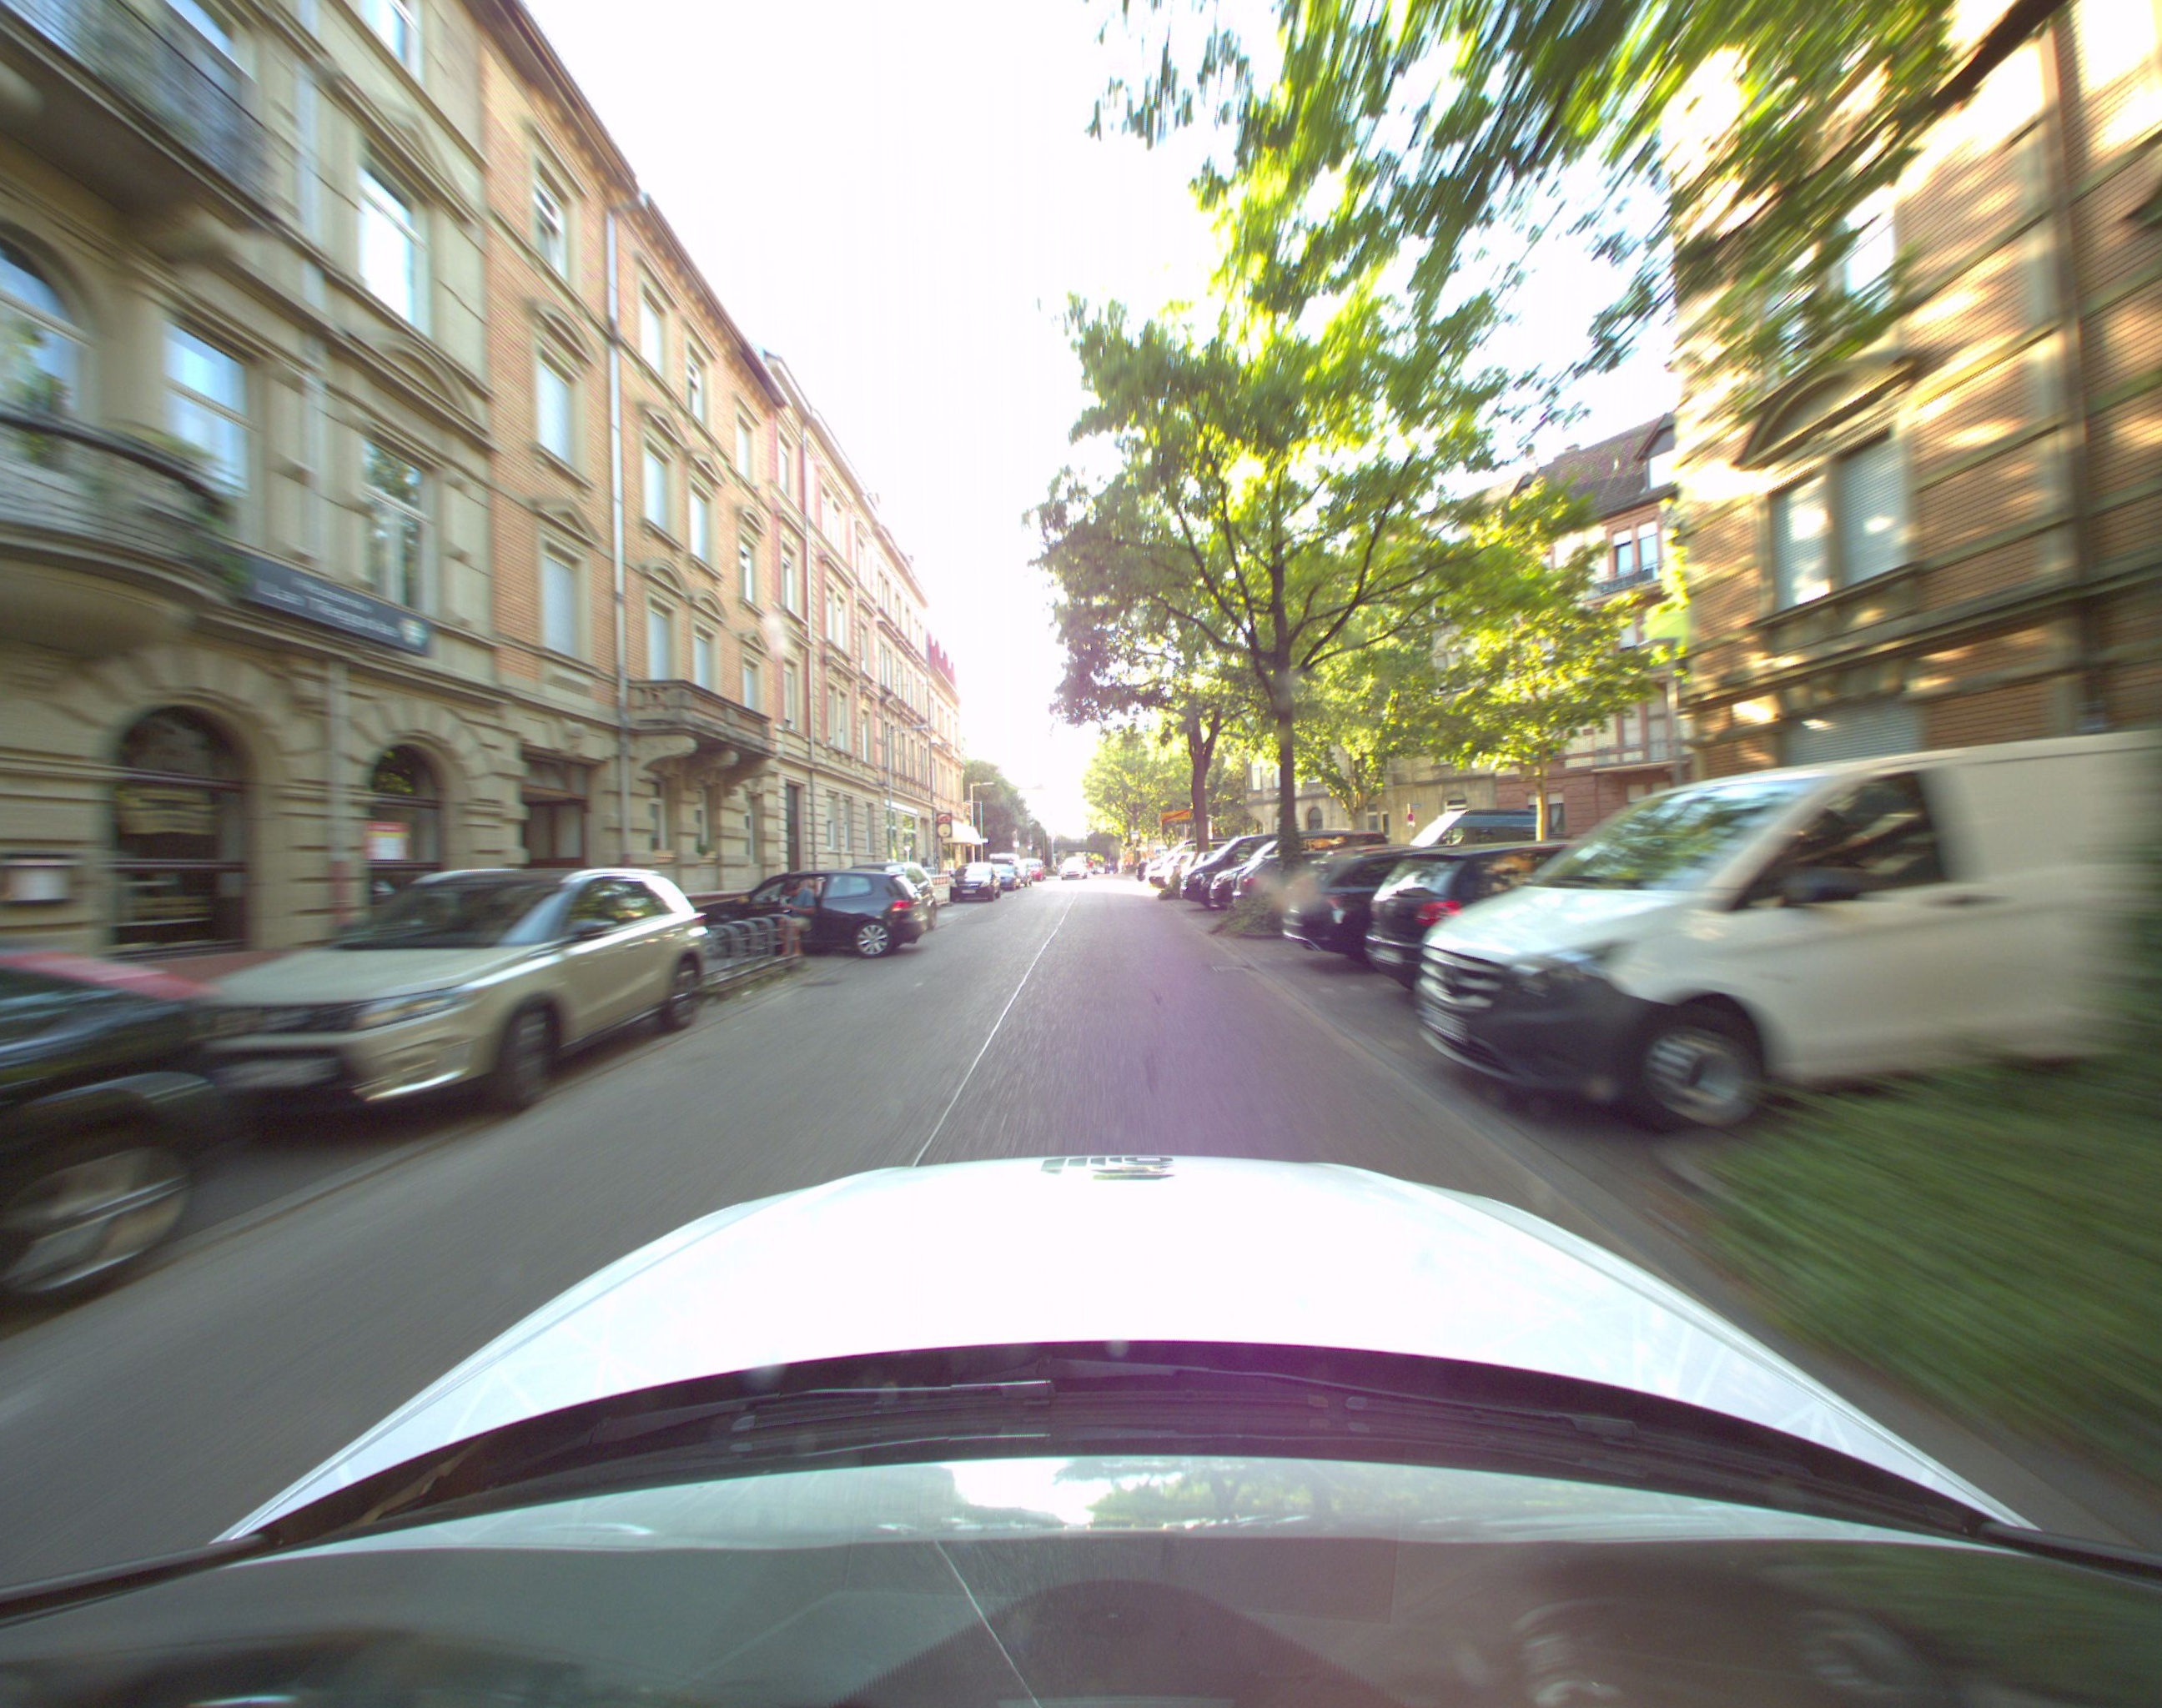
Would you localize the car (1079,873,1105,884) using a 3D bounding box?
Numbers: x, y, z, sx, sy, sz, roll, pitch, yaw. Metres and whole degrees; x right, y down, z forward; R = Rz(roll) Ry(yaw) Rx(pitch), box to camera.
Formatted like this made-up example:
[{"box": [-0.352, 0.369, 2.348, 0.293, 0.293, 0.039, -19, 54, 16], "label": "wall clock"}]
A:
[{"box": [1.850, 4.265, 141.628, 4.375, 1.785, 1.915, -1, -4, -2], "label": "car"}]

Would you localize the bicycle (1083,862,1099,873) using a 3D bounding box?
[{"box": [0.855, 1.151, 70.201, 0.805, 0.968, 2.096, -1, 0, -17], "label": "bicycle"}]

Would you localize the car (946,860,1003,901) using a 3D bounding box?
[{"box": [-4.140, 0.986, 32.243, 1.698, 1.454, 4.019, -2, 0, 0], "label": "car"}]

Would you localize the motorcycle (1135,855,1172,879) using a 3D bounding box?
[{"box": [4.316, 0.779, 48.618, 2.017, 1.285, 0.903, -4, 0, -1], "label": "motorcycle"}]

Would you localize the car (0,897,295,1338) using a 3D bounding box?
[{"box": [-4.606, 0.946, 1.874, 1.642, 1.473, 4.000, 1, 0, 1], "label": "car"}]

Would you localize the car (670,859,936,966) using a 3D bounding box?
[{"box": [-4.670, 0.950, 14.211, 3.980, 1.529, 1.823, -3, 0, -5], "label": "car"}]

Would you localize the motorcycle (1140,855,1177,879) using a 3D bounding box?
[{"box": [4.448, 0.744, 46.709, 2.010, 1.327, 0.620, -2, 0, -3], "label": "motorcycle"}]

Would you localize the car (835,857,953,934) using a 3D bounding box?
[{"box": [-4.295, 0.899, 19.321, 1.735, 1.567, 3.896, -2, 0, 2], "label": "car"}]

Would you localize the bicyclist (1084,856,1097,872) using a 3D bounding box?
[{"box": [0.847, 0.852, 70.238, 0.805, 1.383, 0.979, -1, -1, -19], "label": "bicyclist"}]

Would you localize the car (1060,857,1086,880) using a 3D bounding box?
[{"box": [-0.532, 1.004, 58.482, 1.743, 1.509, 4.001, -2, 0, 1], "label": "car"}]

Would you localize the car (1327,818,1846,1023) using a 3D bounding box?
[{"box": [4.676, 0.546, 7.868, 3.983, 1.474, 1.778, -4, 0, -7], "label": "car"}]

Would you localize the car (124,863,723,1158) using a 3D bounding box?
[{"box": [-4.525, 0.892, 6.551, 1.644, 1.574, 4.045, 1, 0, -3], "label": "car"}]

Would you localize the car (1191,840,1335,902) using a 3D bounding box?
[{"box": [5.548, 0.506, 25.138, 3.975, 1.692, 1.800, -2, 0, -1], "label": "car"}]

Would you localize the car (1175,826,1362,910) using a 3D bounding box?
[{"box": [5.048, 0.374, 22.396, 4.602, 2.013, 1.999, -2, 0, -2], "label": "car"}]

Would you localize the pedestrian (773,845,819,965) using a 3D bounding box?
[{"box": [-4.686, 0.817, 13.405, 0.591, 1.887, 0.637, -2, 0, -15], "label": "pedestrian"}]

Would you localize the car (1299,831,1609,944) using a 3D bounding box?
[{"box": [5.779, 0.497, 13.010, 4.066, 1.497, 1.844, -3, 0, 1], "label": "car"}]

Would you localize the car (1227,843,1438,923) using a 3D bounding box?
[{"box": [5.244, 0.593, 17.439, 3.967, 1.448, 1.893, -2, 0, 5], "label": "car"}]

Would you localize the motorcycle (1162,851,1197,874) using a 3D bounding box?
[{"box": [6.861, 0.566, 56.615, 2.279, 1.531, 0.754, -2, -1, -5], "label": "motorcycle"}]

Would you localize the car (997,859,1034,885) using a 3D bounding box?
[{"box": [-3.807, 1.037, 47.635, 1.719, 1.437, 3.997, 0, 0, 2], "label": "car"}]

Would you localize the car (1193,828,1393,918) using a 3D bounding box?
[{"box": [5.010, 0.428, 19.644, 4.258, 1.885, 1.937, -2, 0, -3], "label": "car"}]

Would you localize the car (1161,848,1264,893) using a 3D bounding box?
[{"box": [5.188, 0.631, 32.469, 3.827, 1.595, 1.741, -2, 0, 1], "label": "car"}]

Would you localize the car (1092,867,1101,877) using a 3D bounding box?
[{"box": [2.932, 3.366, 153.969, 1.769, 1.609, 4.402, -3, 0, 1], "label": "car"}]

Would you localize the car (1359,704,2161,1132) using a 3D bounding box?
[{"box": [4.645, 0.330, 5.010, 5.073, 1.940, 2.158, -2, -4, 1], "label": "car"}]

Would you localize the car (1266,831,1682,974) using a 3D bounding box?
[{"box": [4.760, 0.569, 10.395, 4.353, 1.455, 1.934, -3, 0, 1], "label": "car"}]

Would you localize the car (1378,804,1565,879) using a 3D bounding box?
[{"box": [14.498, -0.454, 30.466, 5.885, 2.537, 2.376, -2, 0, -5], "label": "car"}]

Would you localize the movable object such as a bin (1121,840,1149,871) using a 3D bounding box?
[{"box": [5.056, 0.141, 75.518, 1.979, 2.699, 3.122, -2, -1, 14], "label": "movable object such as a bin"}]

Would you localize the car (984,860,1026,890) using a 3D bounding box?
[{"box": [-3.917, 1.048, 42.417, 1.759, 1.437, 4.299, -2, 0, 0], "label": "car"}]

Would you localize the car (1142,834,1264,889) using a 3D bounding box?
[{"box": [5.200, 0.306, 35.223, 4.956, 2.096, 2.106, -2, 0, 1], "label": "car"}]

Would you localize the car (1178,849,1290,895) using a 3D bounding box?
[{"box": [5.624, 0.655, 30.312, 3.827, 1.515, 1.848, -2, 0, 1], "label": "car"}]

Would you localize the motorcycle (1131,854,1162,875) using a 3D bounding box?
[{"box": [4.618, 0.753, 57.267, 1.913, 1.412, 0.947, -2, -1, 29], "label": "motorcycle"}]

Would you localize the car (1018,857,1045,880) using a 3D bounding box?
[{"box": [-3.503, 1.024, 57.967, 1.664, 1.530, 3.998, -2, -1, -1], "label": "car"}]
